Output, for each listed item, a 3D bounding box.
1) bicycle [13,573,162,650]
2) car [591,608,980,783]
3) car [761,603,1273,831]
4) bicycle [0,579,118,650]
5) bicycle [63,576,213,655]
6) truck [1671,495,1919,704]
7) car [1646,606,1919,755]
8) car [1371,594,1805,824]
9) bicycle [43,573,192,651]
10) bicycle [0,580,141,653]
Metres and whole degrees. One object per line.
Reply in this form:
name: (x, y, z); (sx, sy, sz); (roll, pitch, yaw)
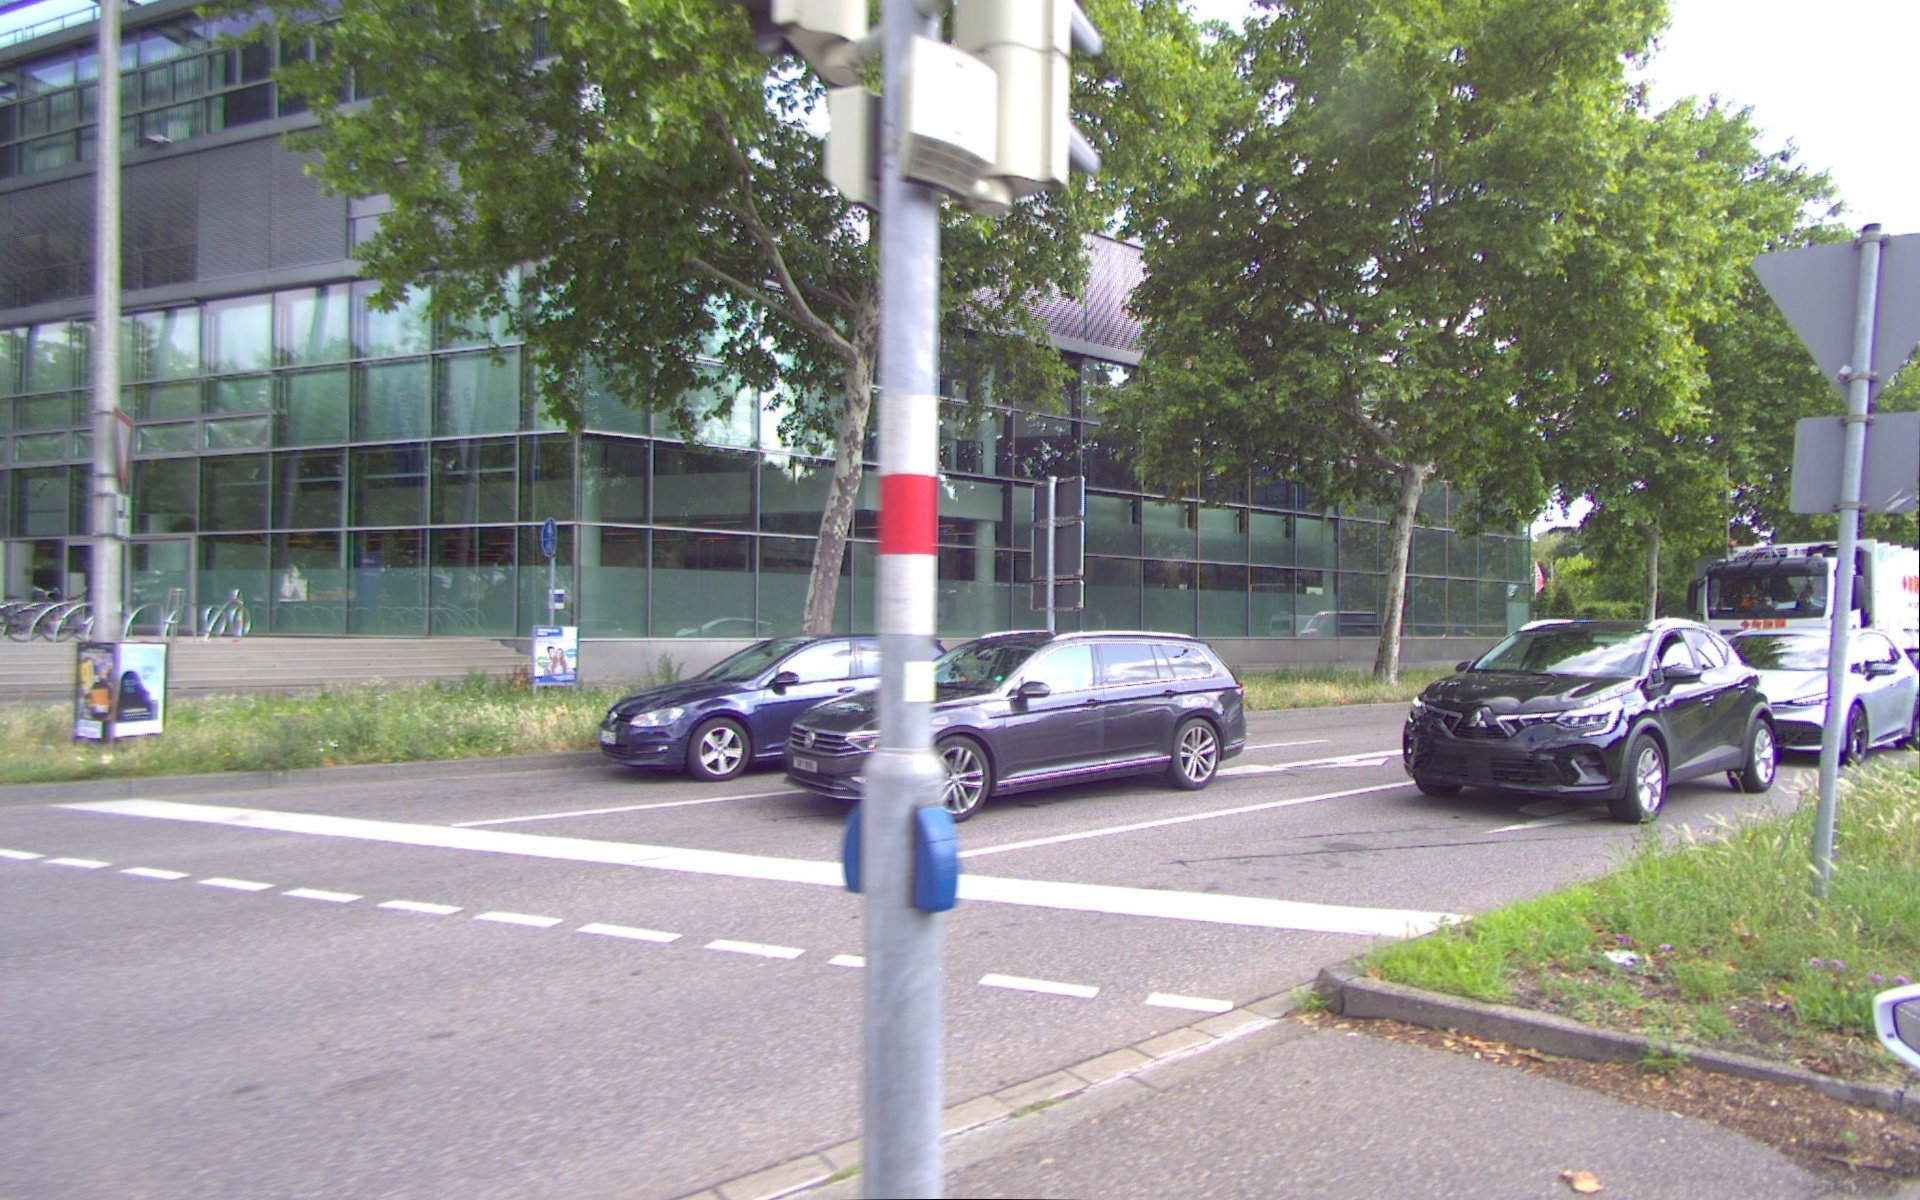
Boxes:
bicycle: (-18.196, 0.273, 21.023); (0.678, 1.459, 2.178); (2, -3, 25)
car: (-1.801, 0.997, 11.142); (3.971, 1.592, 1.714); (3, -5, -42)
car: (0.666, 0.877, 9.156); (4.524, 1.594, 1.852); (1, -2, -36)
bicycle: (-19.689, 0.323, 21.660); (0.728, 1.402, 2.138); (2, -3, 26)
bicycle: (-16.557, 0.341, 20.303); (0.678, 1.459, 2.178); (2, -3, 25)
truck: (19.829, 0.116, 22.894); (10.058, 3.938, 2.633); (1, -3, -35)
car: (10.497, 0.951, 12.626); (4.192, 1.573, 1.733); (2, -4, -36)
car: (5.715, 0.813, 8.968); (4.317, 1.608, 1.697); (1, -2, -34)
bicycle: (-17.244, 0.284, 20.633); (0.678, 1.459, 2.178); (2, -3, 25)
bicycle: (-18.883, 0.380, 21.308); (0.728, 1.402, 2.138); (2, -3, 26)
